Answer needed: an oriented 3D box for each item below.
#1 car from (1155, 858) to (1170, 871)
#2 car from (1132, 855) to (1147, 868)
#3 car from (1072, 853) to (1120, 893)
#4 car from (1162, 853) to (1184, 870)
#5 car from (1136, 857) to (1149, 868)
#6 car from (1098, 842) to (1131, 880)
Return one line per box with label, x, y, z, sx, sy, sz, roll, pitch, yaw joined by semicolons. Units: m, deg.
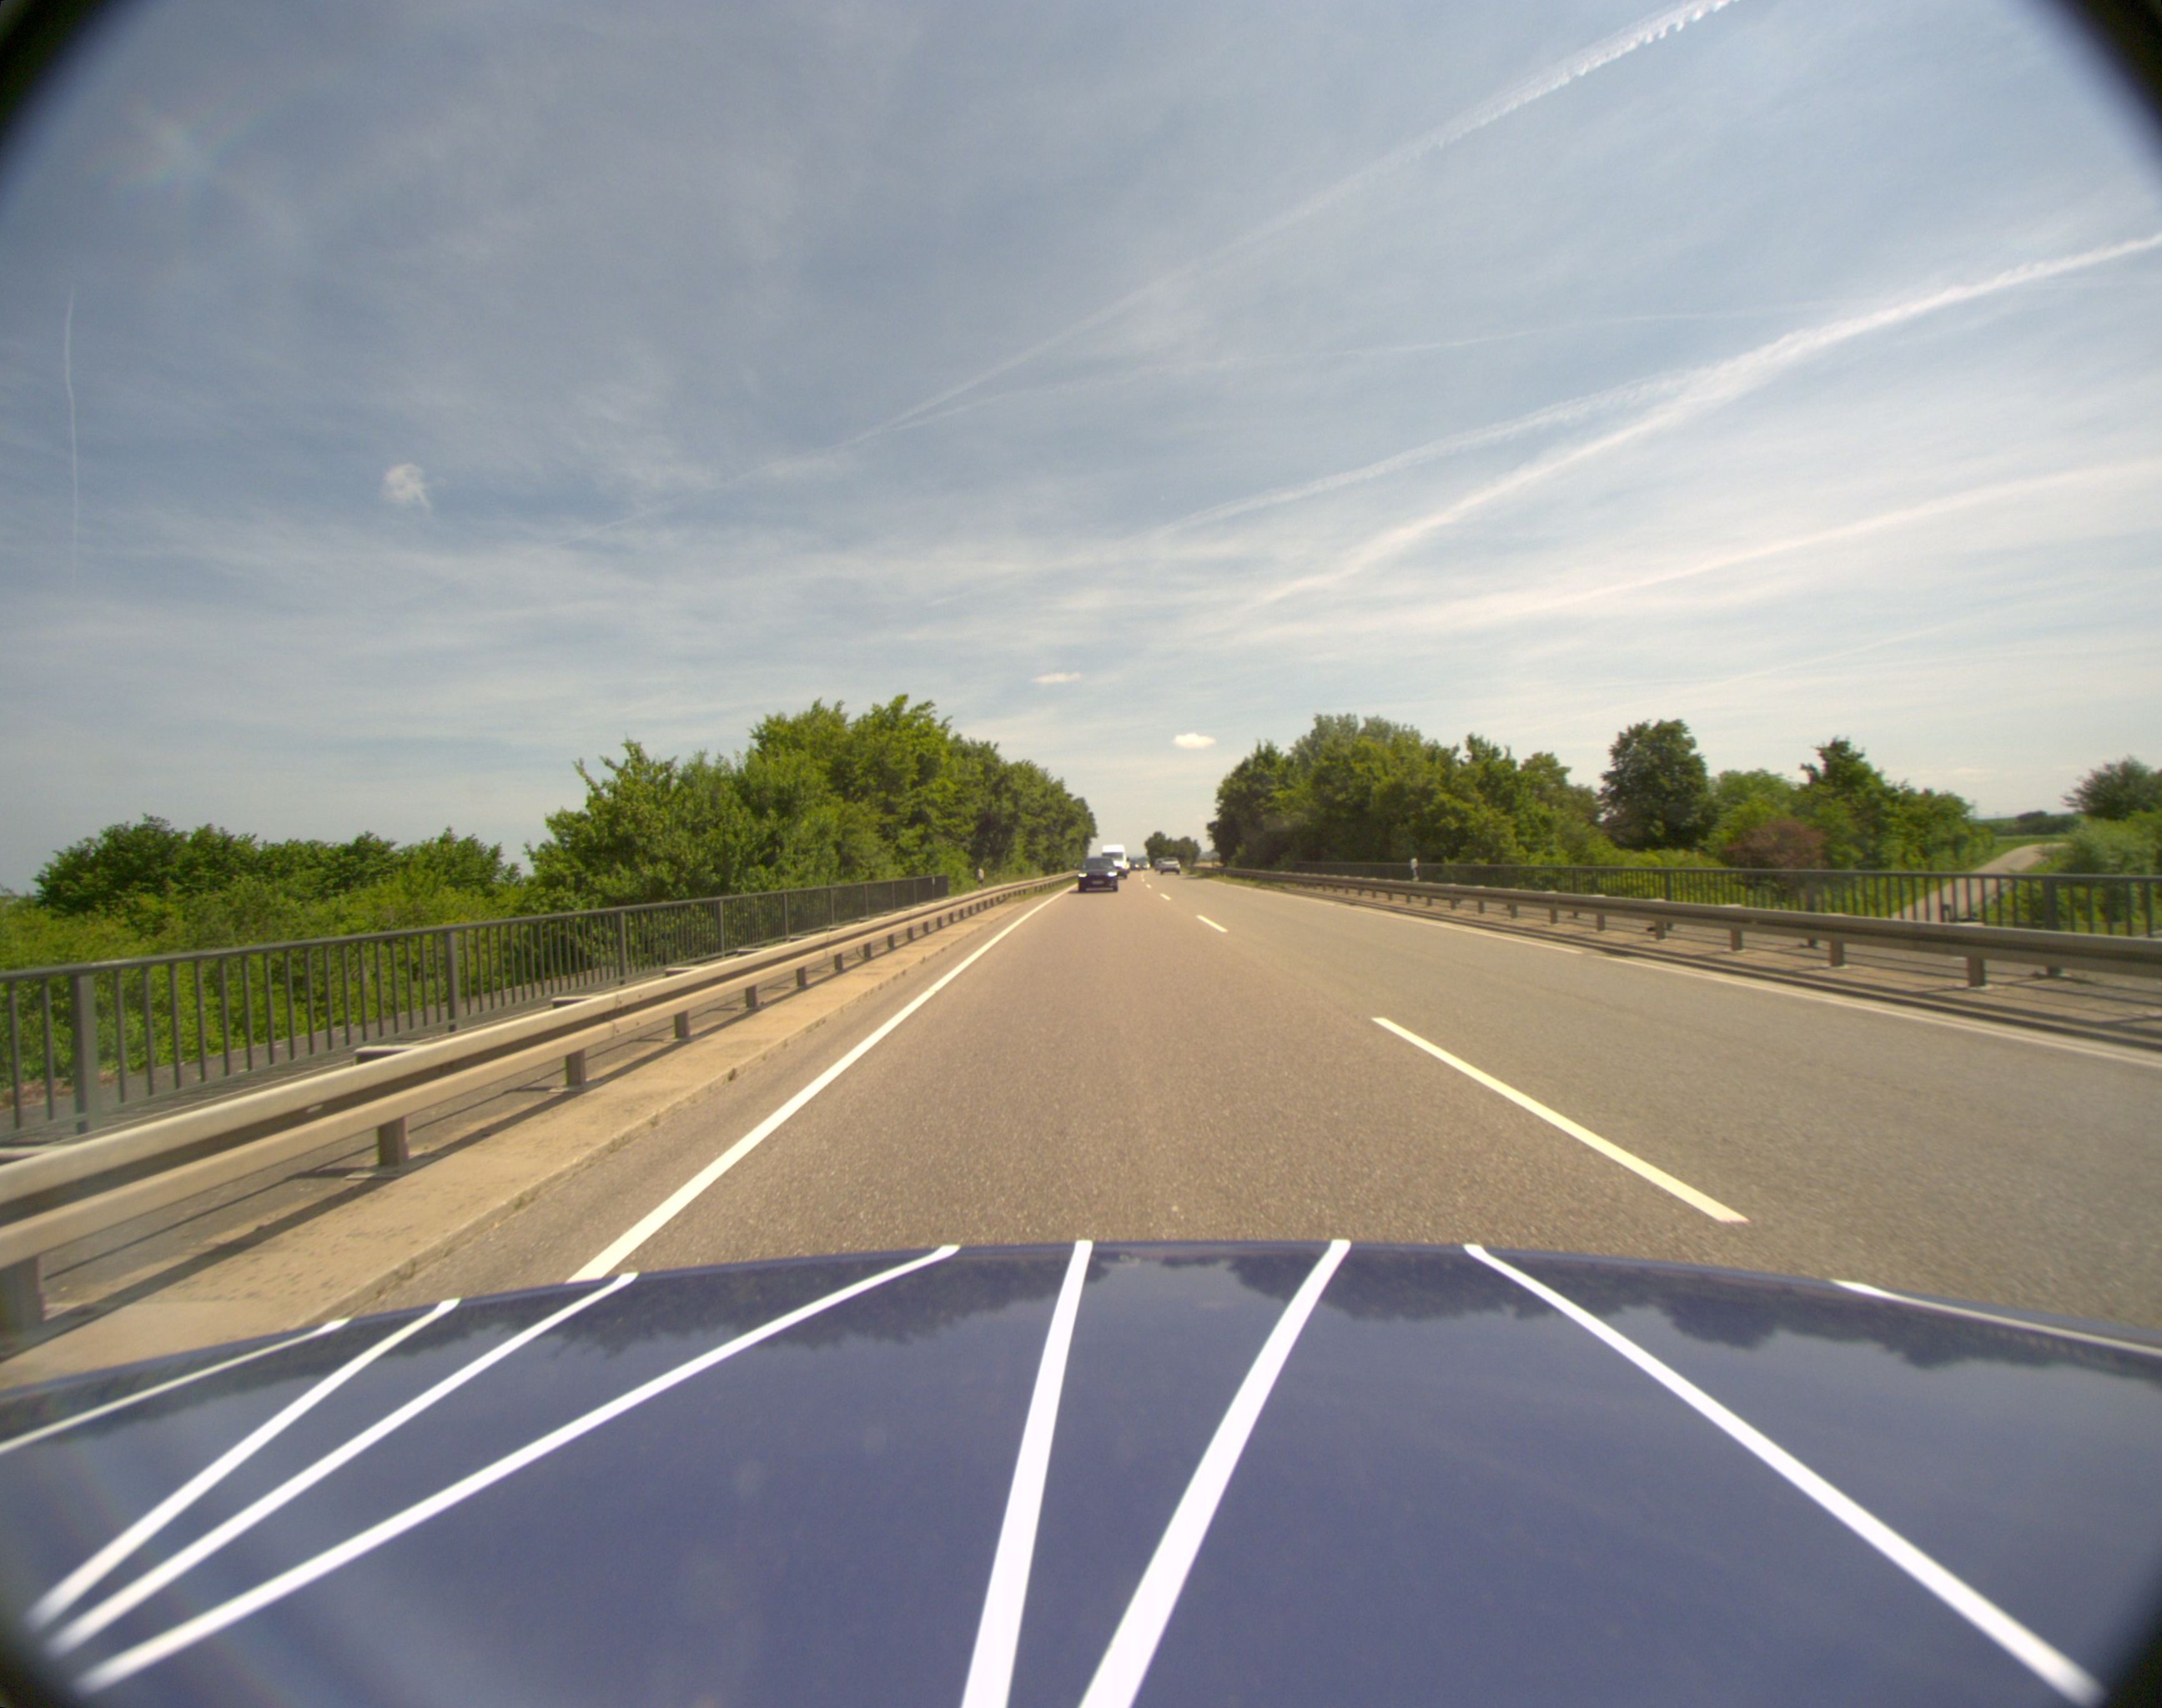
car;10.238;1.300;95.553;1.663;1.542;4.339;-1;0;4
car;8.324;1.041;107.428;2.038;1.641;4.746;-1;0;5
car;0.827;0.877;36.648;2.038;1.691;5.515;-3;-1;3
car;8.743;0.719;72.351;1.883;1.502;4.545;-1;0;5
car;10.074;1.393;124.079;2.038;1.641;4.747;-1;0;6
car;2.640;0.452;58.521;2.225;2.618;5.753;-2;2;5
